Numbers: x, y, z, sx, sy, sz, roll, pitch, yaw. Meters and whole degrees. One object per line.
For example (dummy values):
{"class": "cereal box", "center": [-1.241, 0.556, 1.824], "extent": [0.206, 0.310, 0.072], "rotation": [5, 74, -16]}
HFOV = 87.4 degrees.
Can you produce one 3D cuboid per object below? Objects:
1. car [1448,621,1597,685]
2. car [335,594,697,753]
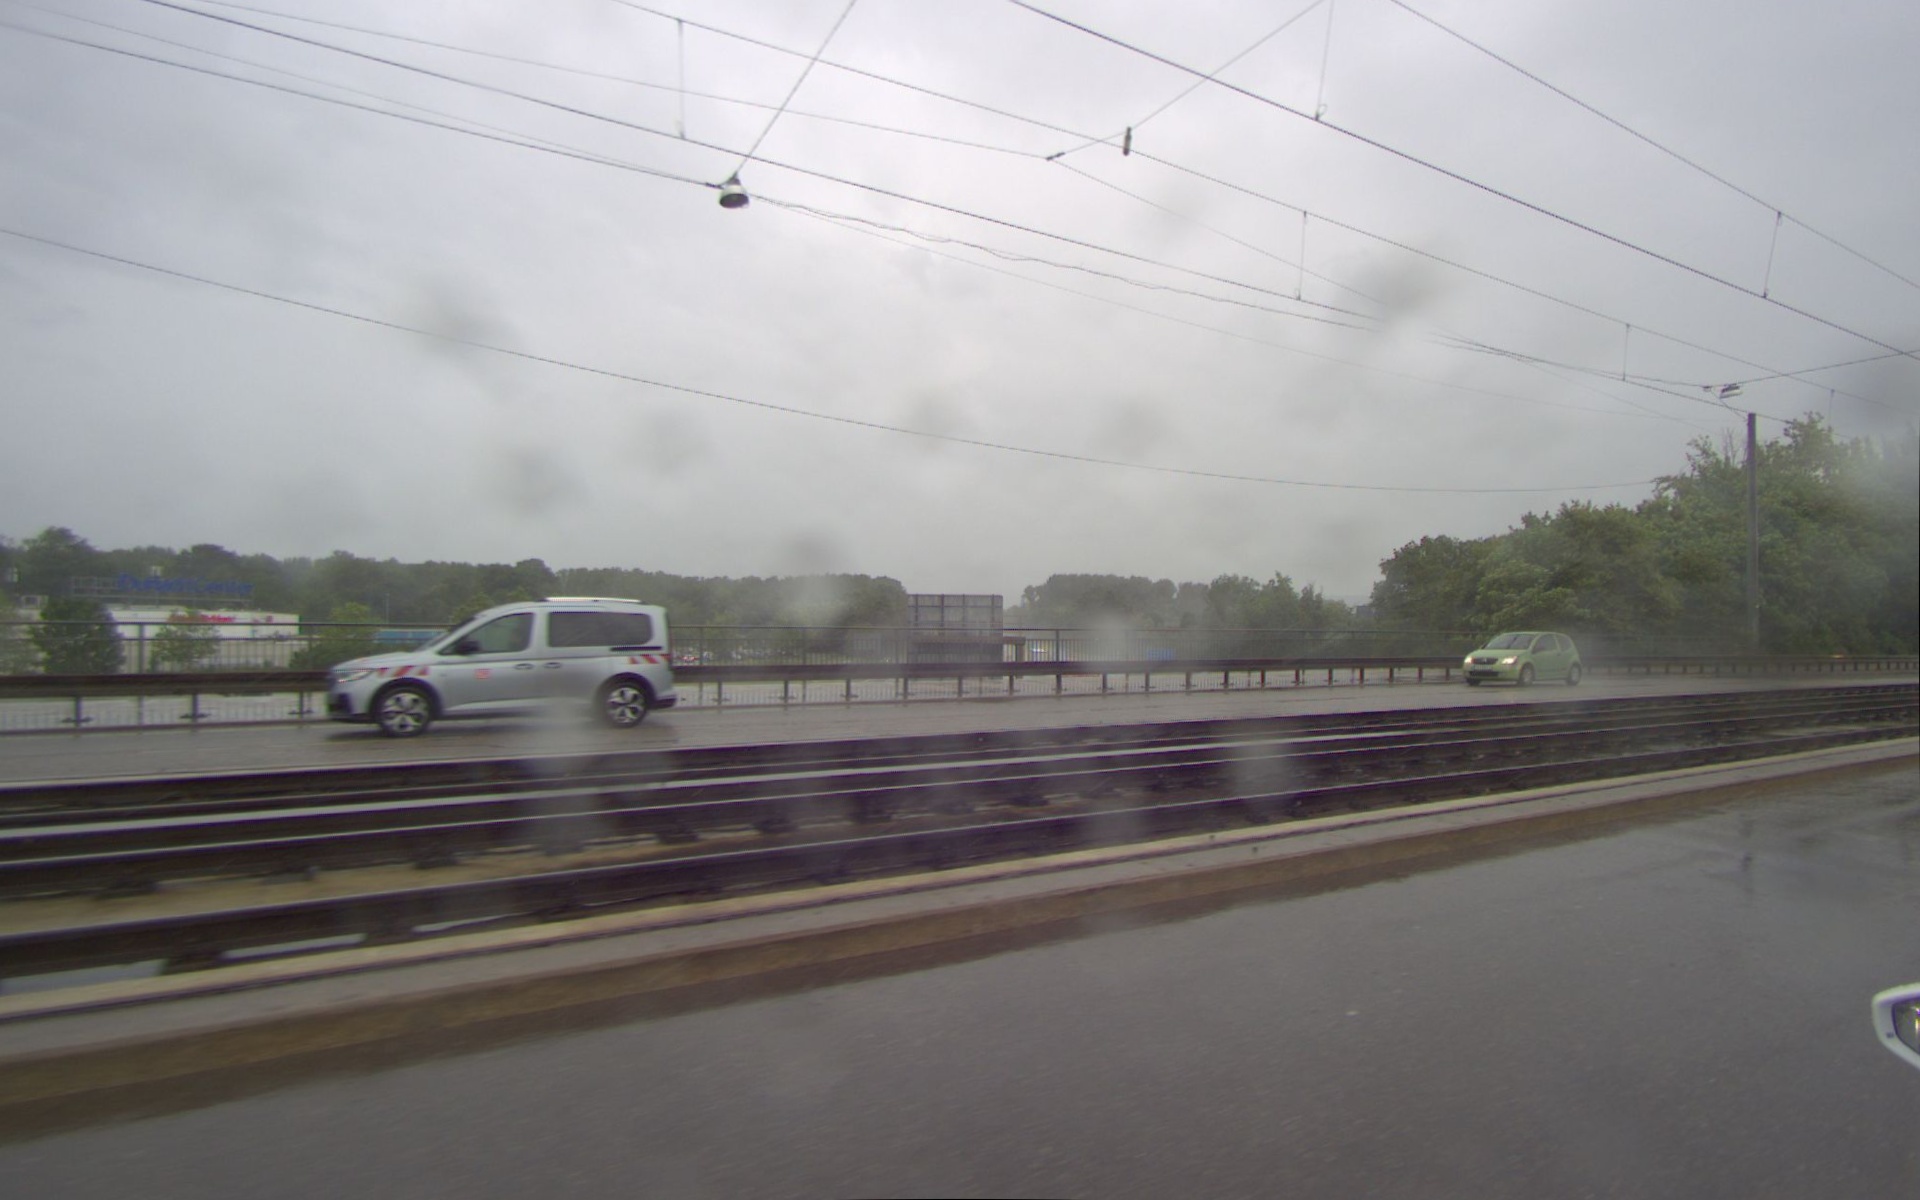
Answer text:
{"class": "car", "center": [15.485, 1.421, 27.641], "extent": [3.953, 1.615, 1.837], "rotation": [2, -1, -30]}
{"class": "car", "center": [-6.102, 0.941, 14.025], "extent": [4.342, 1.856, 1.839], "rotation": [2, 2, -30]}
